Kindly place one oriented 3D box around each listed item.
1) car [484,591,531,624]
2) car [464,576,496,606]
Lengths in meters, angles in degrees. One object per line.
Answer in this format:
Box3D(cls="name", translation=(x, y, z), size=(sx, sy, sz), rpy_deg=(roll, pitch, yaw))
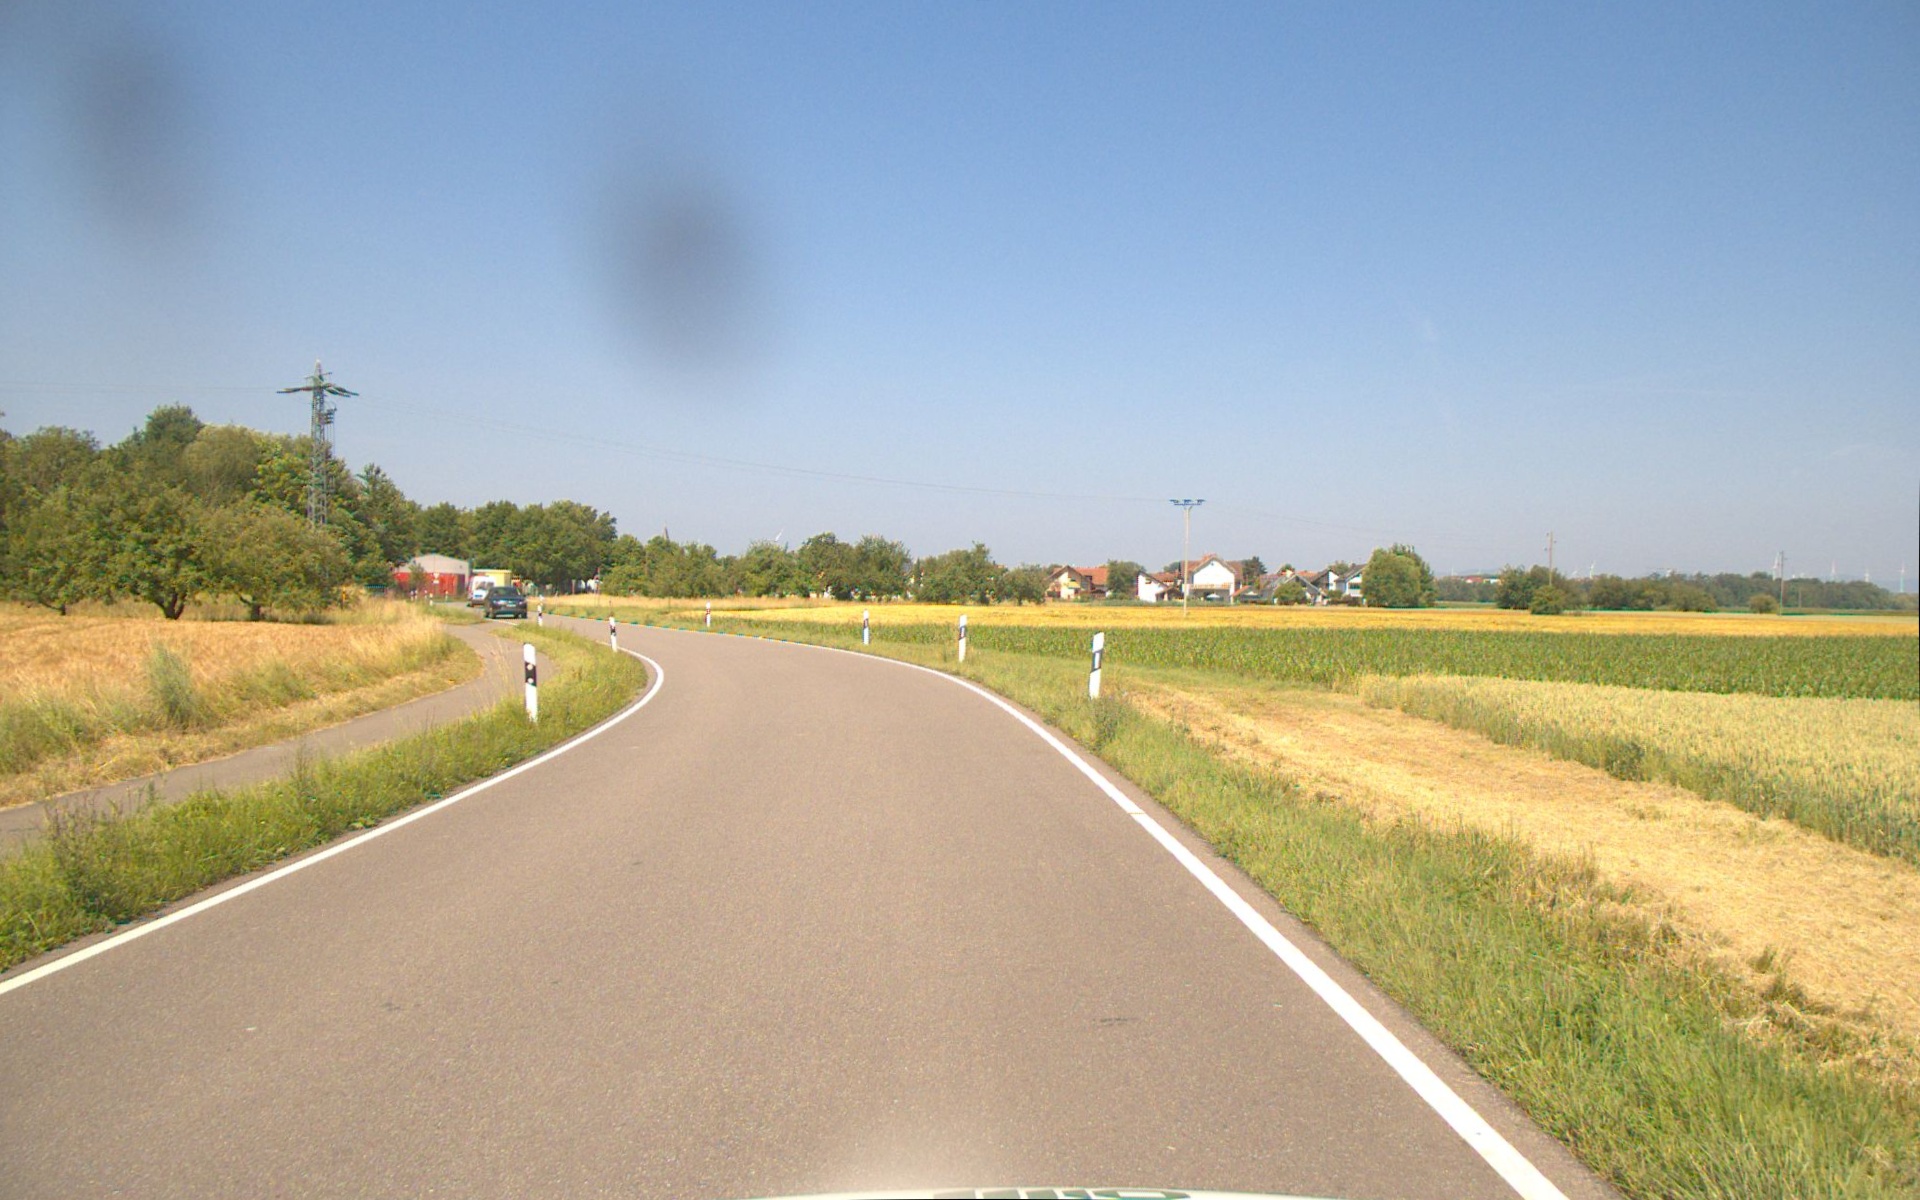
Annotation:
Box3D(cls="car", translation=(-24.769, 0.365, 90.460), size=(1.862, 1.744, 3.983), rpy_deg=(0, 1, -24))
Box3D(cls="car", translation=(-38.533, -0.704, 132.671), size=(1.966, 2.306, 4.695), rpy_deg=(1, 0, -22))
